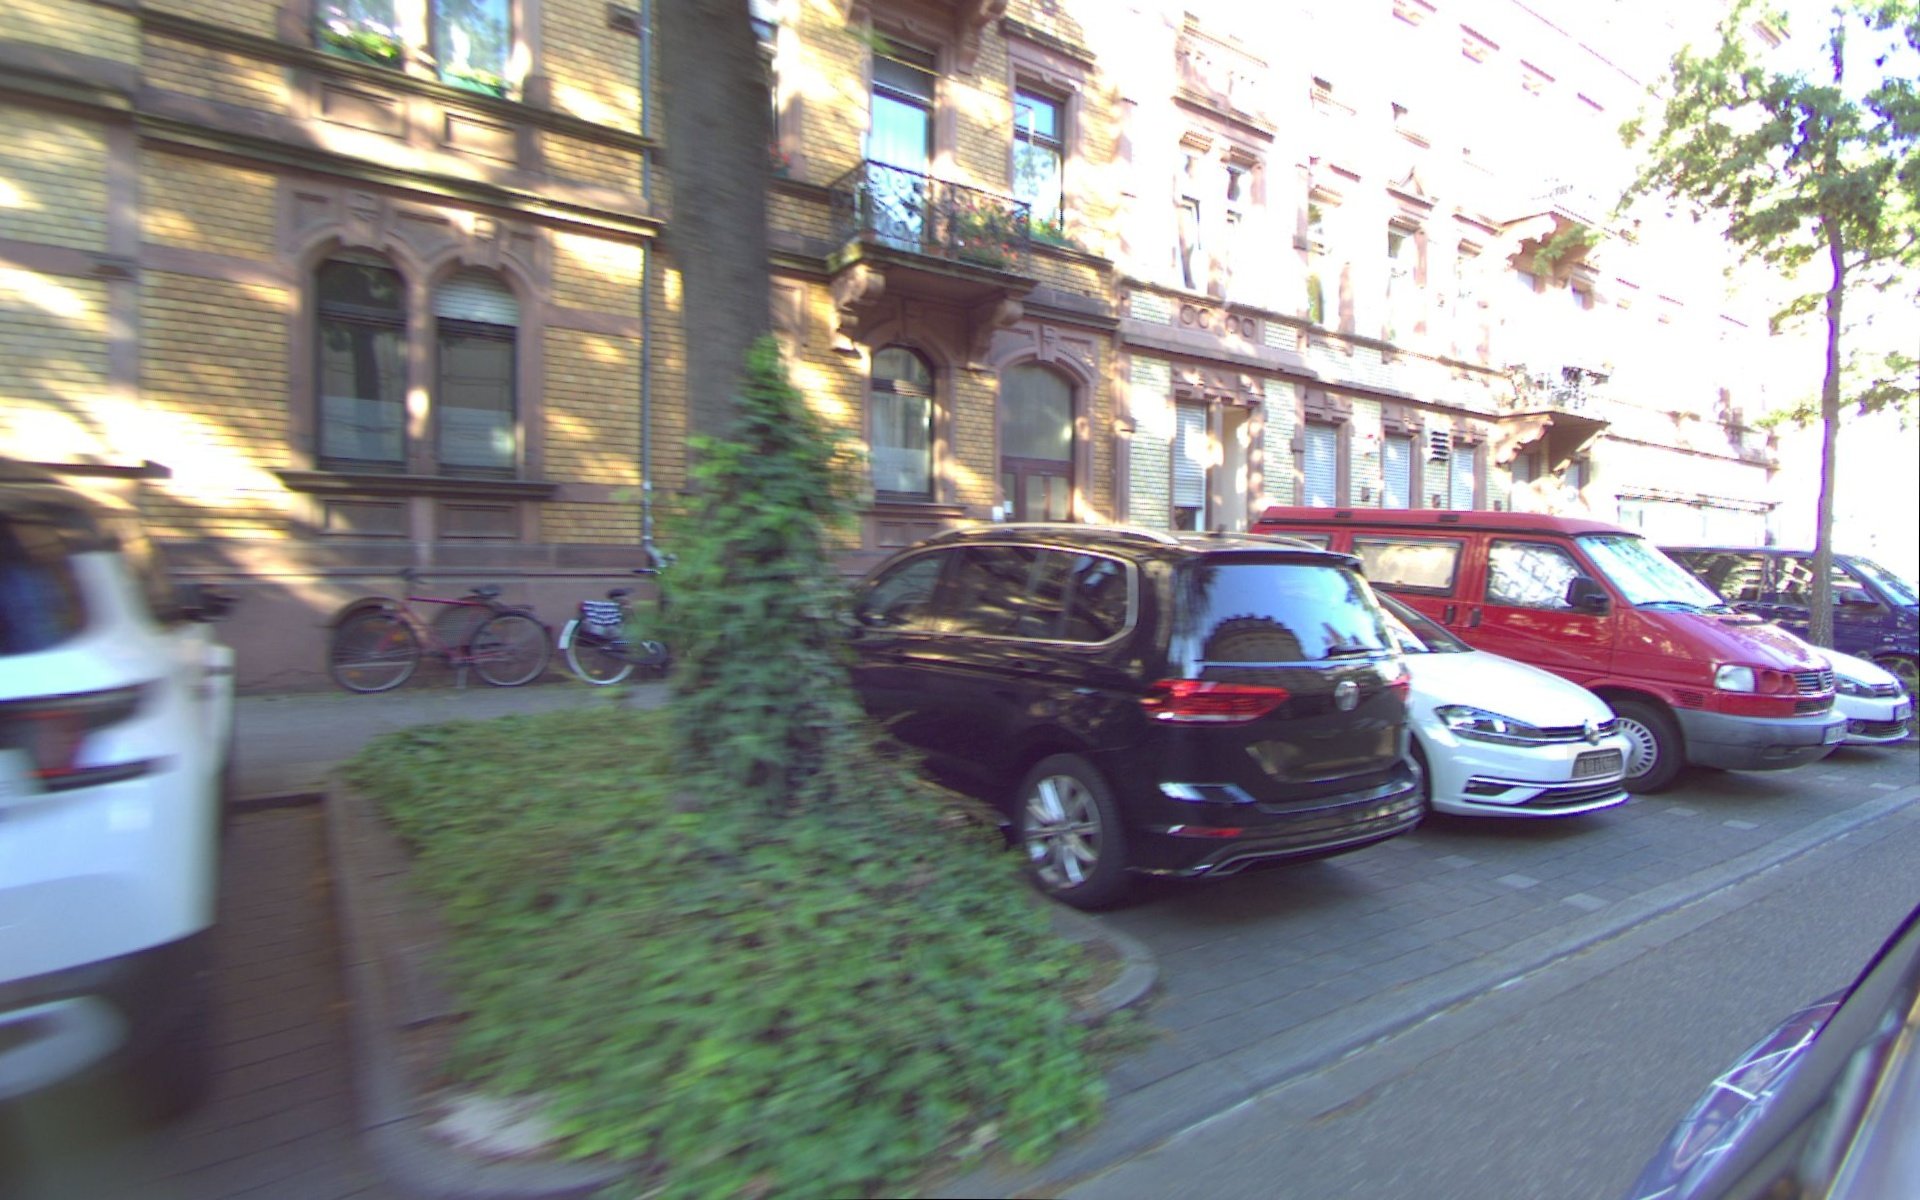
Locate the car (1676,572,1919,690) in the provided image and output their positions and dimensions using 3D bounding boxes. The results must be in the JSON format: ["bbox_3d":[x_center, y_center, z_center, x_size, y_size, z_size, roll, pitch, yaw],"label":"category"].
[{"bbox_3d":[12.936,0.376,14.433,1.691,1.553,4.121,-1,2,-34],"label":"car"}]

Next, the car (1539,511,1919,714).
[{"bbox_3d":[10.555,0.085,13.041,1.954,2.242,5.040,-1,2,-34],"label":"car"}]

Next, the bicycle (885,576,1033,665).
[{"bbox_3d":[0.011,0.224,12.051,1.832,0.974,0.406,0,4,-35],"label":"bicycle"}]

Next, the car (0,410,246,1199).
[{"bbox_3d":[-3.306,0.377,3.115,1.771,1.647,4.025,-1,4,-36],"label":"car"}]

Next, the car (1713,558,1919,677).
[{"bbox_3d":[14.862,0.252,15.744,1.813,1.699,4.713,0,3,-25],"label":"car"}]

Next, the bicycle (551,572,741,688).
[{"bbox_3d":[-2.966,0.240,9.730,0.404,0.974,1.842,5,5,37],"label":"bicycle"}]

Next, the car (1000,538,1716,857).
[{"bbox_3d":[2.400,0.352,7.461,1.842,1.532,4.695,-1,4,-32],"label":"car"}]

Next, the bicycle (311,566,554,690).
[{"bbox_3d":[-4.545,0.216,8.794,1.832,0.974,0.406,0,4,-35],"label":"bicycle"}]

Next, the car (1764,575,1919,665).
[{"bbox_3d":[16.837,0.367,17.044,1.815,1.430,4.807,-1,3,-32],"label":"car"}]

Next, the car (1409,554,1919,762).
[{"bbox_3d":[6.924,0.367,10.099,1.843,1.528,4.070,-1,4,-35],"label":"car"}]

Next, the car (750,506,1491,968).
[{"bbox_3d":[0.464,0.352,5.826,1.802,1.647,4.203,-1,4,-34],"label":"car"}]

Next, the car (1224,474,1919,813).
[{"bbox_3d":[4.706,0.115,8.591,1.843,2.058,4.694,-1,4,-34],"label":"car"}]

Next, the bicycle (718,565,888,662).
[{"bbox_3d":[-1.696,0.129,11.131,1.832,0.974,0.406,0,4,-35],"label":"bicycle"}]
